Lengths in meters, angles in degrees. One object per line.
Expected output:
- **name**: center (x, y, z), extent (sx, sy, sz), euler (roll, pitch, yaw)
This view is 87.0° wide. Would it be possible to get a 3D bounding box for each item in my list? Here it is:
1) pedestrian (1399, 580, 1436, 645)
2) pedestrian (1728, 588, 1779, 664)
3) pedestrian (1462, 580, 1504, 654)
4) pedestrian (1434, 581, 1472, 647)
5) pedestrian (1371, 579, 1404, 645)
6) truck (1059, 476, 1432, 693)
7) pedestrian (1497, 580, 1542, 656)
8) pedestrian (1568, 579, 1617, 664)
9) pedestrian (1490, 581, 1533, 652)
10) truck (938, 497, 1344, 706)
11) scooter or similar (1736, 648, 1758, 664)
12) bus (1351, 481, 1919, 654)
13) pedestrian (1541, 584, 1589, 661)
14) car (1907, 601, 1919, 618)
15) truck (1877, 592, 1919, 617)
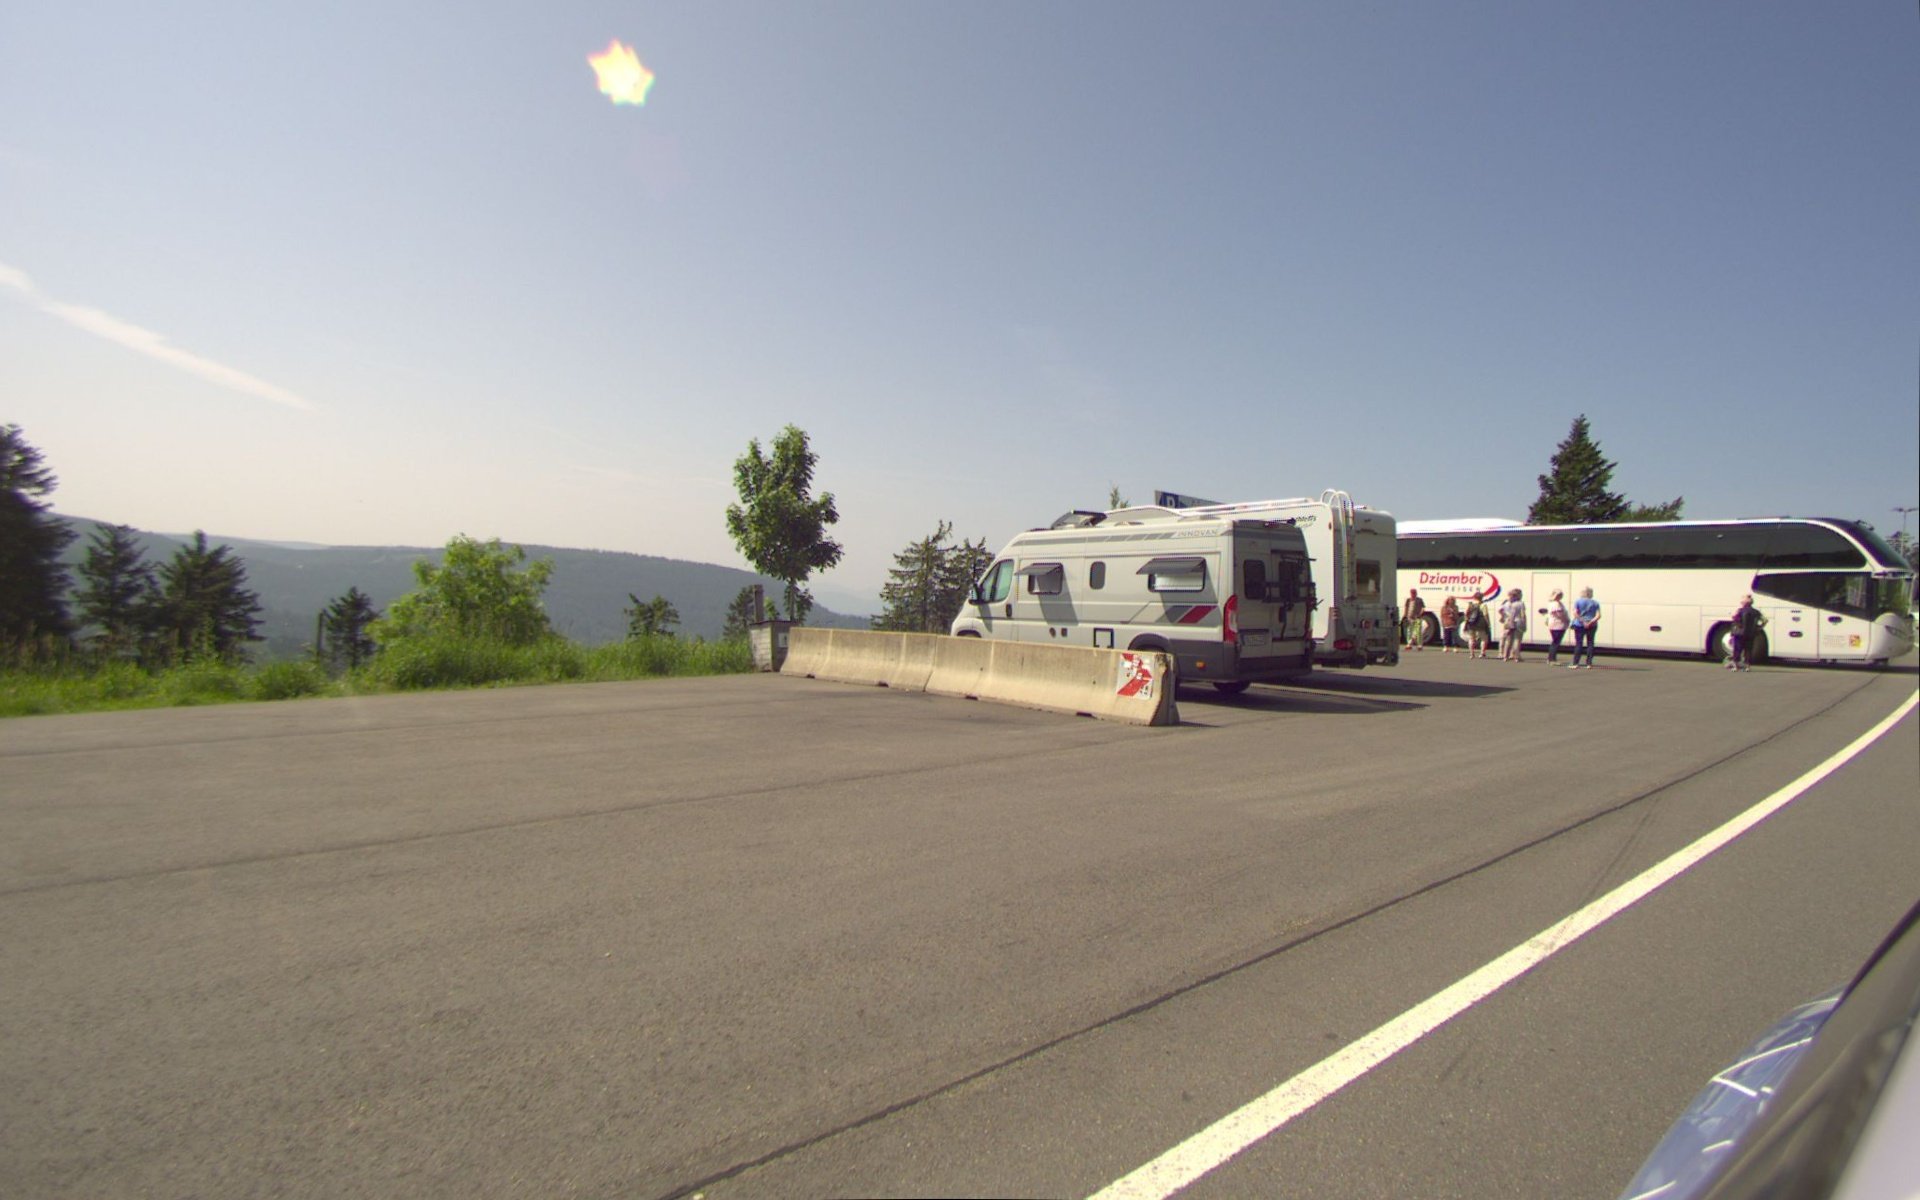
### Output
- **pedestrian**: center (12.410, 0.327, 27.442), extent (0.615, 1.718, 0.633), euler (1, 1, -27)
- **pedestrian**: center (16.969, 0.546, 21.641), extent (0.615, 1.586, 0.633), euler (1, 1, -27)
- **pedestrian**: center (12.476, 0.400, 24.149), extent (0.615, 1.718, 0.633), euler (1, 1, -27)
- **pedestrian**: center (13.055, 0.355, 26.824), extent (0.615, 1.718, 0.633), euler (1, 1, -27)
- **pedestrian**: center (11.346, 0.315, 26.869), extent (0.621, 1.718, 0.627), euler (1, 1, 8)
- **truck**: center (4.876, -0.309, 18.216), extent (2.489, 3.236, 6.072), euler (0, 1, -42)
- **pedestrian**: center (12.940, 0.405, 23.400), extent (0.615, 1.719, 0.633), euler (1, 1, -27)
- **pedestrian**: center (13.511, 0.443, 21.634), extent (0.615, 1.780, 0.633), euler (1, 1, -27)
- **pedestrian**: center (13.380, 0.391, 24.559), extent (0.615, 1.700, 0.633), euler (1, 1, -27)
- **truck**: center (2.490, -0.070, 15.864), extent (2.298, 2.623, 6.276), euler (1, 1, -39)
- **scooter or similar**: center (17.328, 1.228, 22.281), extent (0.320, 0.315, 0.286), euler (1, 1, -32)
- **bus**: center (17.170, -0.869, 26.974), extent (2.788, 3.622, 12.877), euler (1, 1, -39)
- **pedestrian**: center (13.375, 0.483, 22.388), extent (0.615, 1.671, 0.633), euler (1, 1, -17)
- **car**: center (111.708, 1.153, 115.500), extent (5.240, 1.929, 1.968), euler (3, 2, 44)
- **truck**: center (115.476, 0.627, 122.406), extent (8.576, 2.865, 2.877), euler (1, 1, -18)
